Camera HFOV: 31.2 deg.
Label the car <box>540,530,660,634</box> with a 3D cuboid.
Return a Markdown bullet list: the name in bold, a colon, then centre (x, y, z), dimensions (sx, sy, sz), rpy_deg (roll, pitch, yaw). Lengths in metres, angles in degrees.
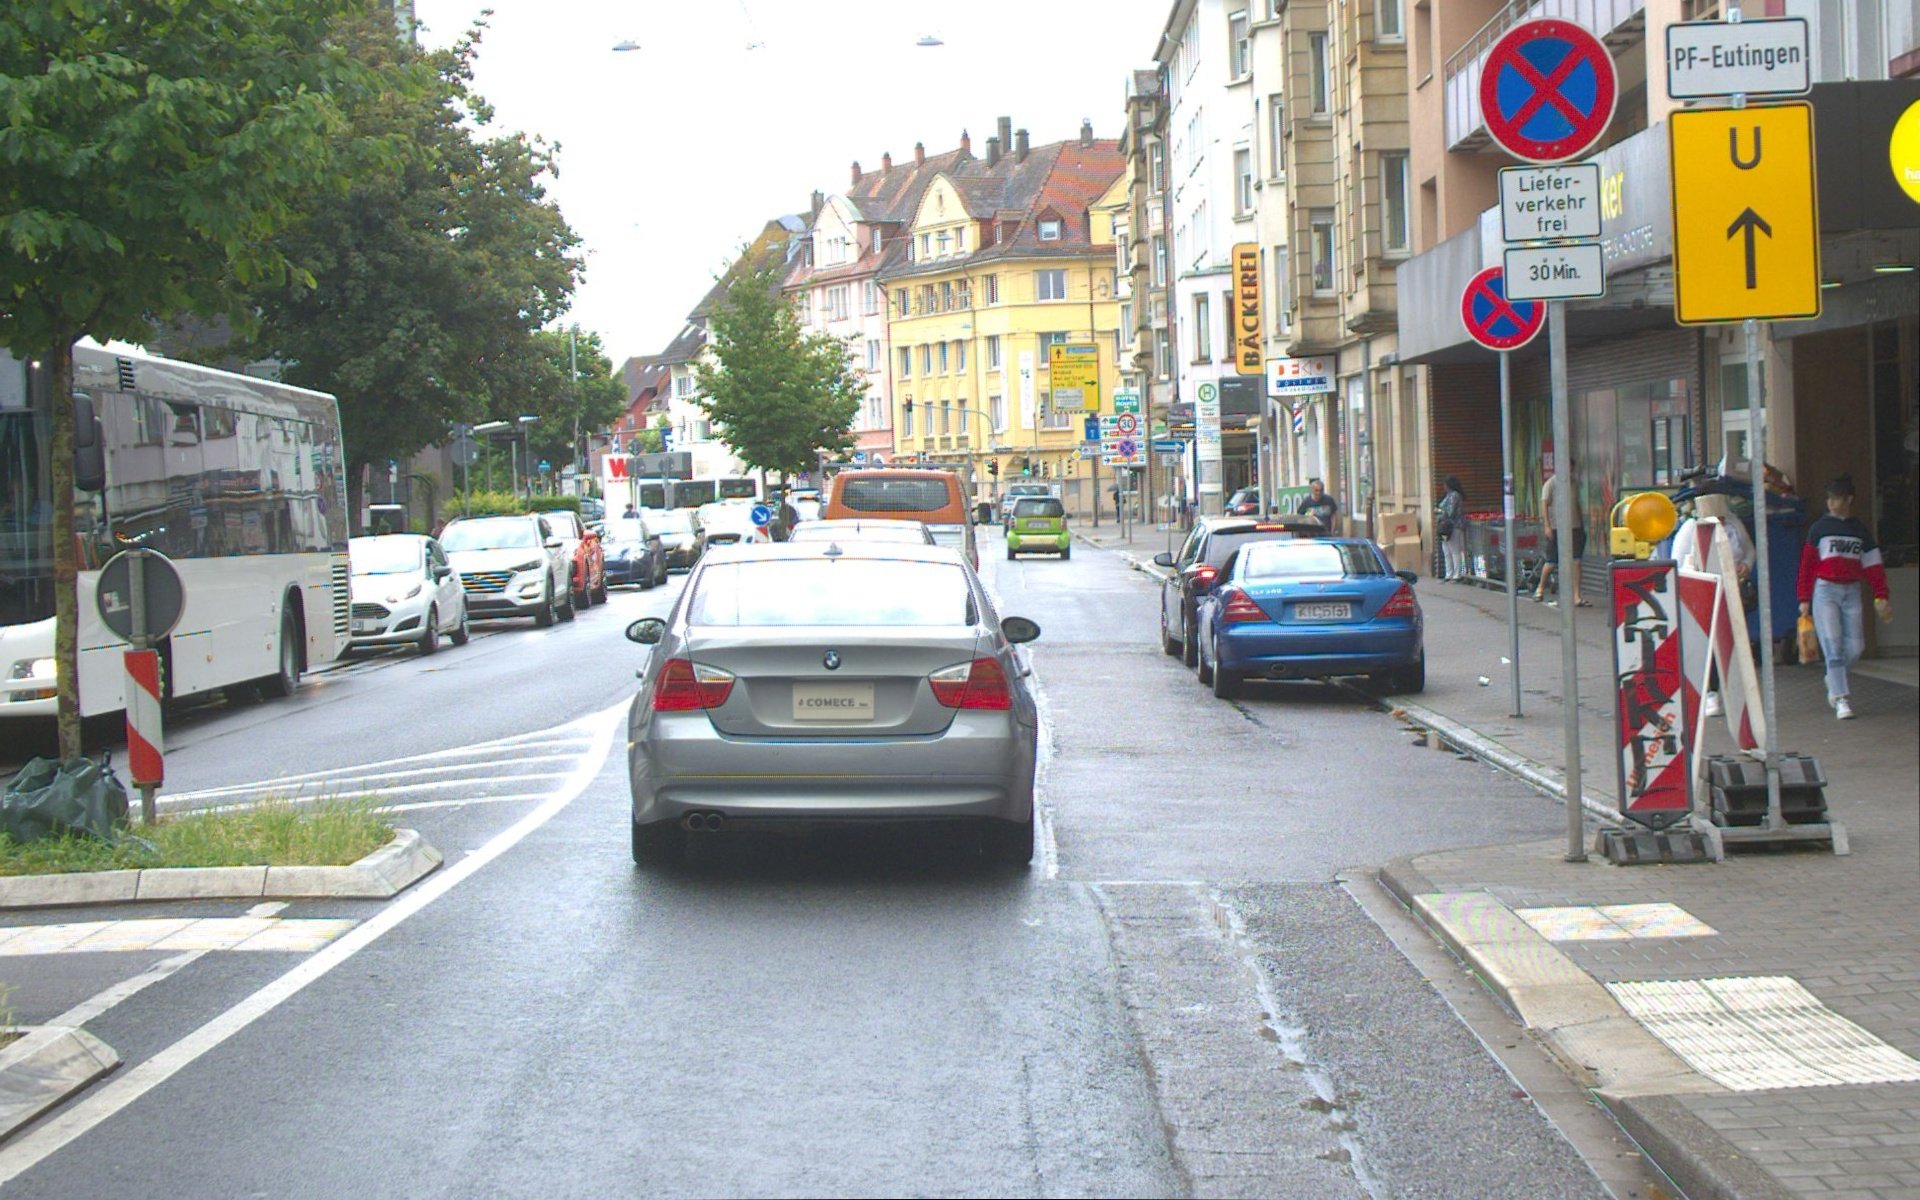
- **car**: centre (-7.255, -0.342, 69.617), dimensions (1.993, 2.007, 4.000), rpy_deg (1, 0, -1)

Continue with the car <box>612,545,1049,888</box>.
- **car**: centre (-0.513, 0.442, 15.418), dimensions (1.756, 1.358, 3.165), rpy_deg (0, 1, 0)

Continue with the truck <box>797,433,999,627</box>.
- **truck**: centre (-0.782, -0.799, 41.443), dimensions (2.215, 2.109, 4.652), rpy_deg (3, 0, -2)

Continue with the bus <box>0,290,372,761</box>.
- **bus**: centre (-7.368, -0.540, 29.337), dimensions (2.681, 3.190, 11.956), rpy_deg (1, 0, -1)

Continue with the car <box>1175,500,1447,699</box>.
- **car**: centre (2.885, -0.048, 29.049), dimensions (1.809, 1.514, 4.000), rpy_deg (1, 1, -1)

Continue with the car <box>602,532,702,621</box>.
- **car**: centre (-7.321, -0.538, 82.020), dimensions (1.993, 2.007, 4.000), rpy_deg (1, 0, -1)

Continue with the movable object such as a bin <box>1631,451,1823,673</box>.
- **movable object such as a bin**: centre (6.157, -0.292, 27.691), dimensions (1.122, 1.697, 1.434), rpy_deg (-2, 0, -2)

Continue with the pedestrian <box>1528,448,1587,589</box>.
- **pedestrian**: centre (7.130, -0.966, 41.057), dimensions (0.615, 1.655, 0.754), rpy_deg (1, -1, 7)

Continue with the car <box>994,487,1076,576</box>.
- **car**: centre (1.793, -1.635, 83.211), dimensions (1.705, 2.007, 4.000), rpy_deg (1, 0, -2)

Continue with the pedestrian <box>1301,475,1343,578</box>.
- **pedestrian**: centre (5.045, -1.021, 47.858), dimensions (0.522, 1.416, 0.430), rpy_deg (1, -1, 10)

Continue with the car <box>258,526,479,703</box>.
- **car**: centre (-7.160, 0.180, 41.973), dimensions (1.993, 2.007, 4.000), rpy_deg (1, 0, -1)

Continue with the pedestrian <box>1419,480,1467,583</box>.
- **pedestrian**: centre (6.827, -0.963, 48.534), dimensions (0.565, 1.416, 0.795), rpy_deg (1, -1, 13)

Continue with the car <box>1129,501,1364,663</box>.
- **car**: centre (2.848, -0.160, 34.983), dimensions (1.993, 1.514, 4.000), rpy_deg (1, 0, -1)

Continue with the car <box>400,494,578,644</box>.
- **car**: centre (-6.684, -0.410, 49.173), dimensions (1.993, 2.007, 4.000), rpy_deg (-2, 0, -1)

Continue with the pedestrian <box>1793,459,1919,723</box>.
- **pedestrian**: centre (5.814, -0.056, 22.154), dimensions (0.750, 1.655, 0.754), rpy_deg (1, -1, 7)

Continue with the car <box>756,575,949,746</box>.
- **car**: centre (-0.970, 0.527, 30.858), dimensions (1.601, 1.415, 3.288), rpy_deg (2, 0, -2)

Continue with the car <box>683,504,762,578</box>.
- **car**: centre (-6.854, -1.693, 99.517), dimensions (1.993, 2.007, 4.000), rpy_deg (1, 0, -1)

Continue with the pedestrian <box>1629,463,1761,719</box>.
- **pedestrian**: centre (4.882, -0.054, 22.873), dimensions (0.749, 1.655, 0.836), rpy_deg (1, -1, 7)

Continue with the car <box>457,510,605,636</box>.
- **car**: centre (-7.204, -0.422, 58.103), dimensions (1.993, 2.007, 4.000), rpy_deg (1, 0, -1)

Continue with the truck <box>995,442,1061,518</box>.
- **truck**: centre (2.440, -4.334, 124.995), dimensions (2.216, 2.535, 4.780), rpy_deg (1, 0, 0)
